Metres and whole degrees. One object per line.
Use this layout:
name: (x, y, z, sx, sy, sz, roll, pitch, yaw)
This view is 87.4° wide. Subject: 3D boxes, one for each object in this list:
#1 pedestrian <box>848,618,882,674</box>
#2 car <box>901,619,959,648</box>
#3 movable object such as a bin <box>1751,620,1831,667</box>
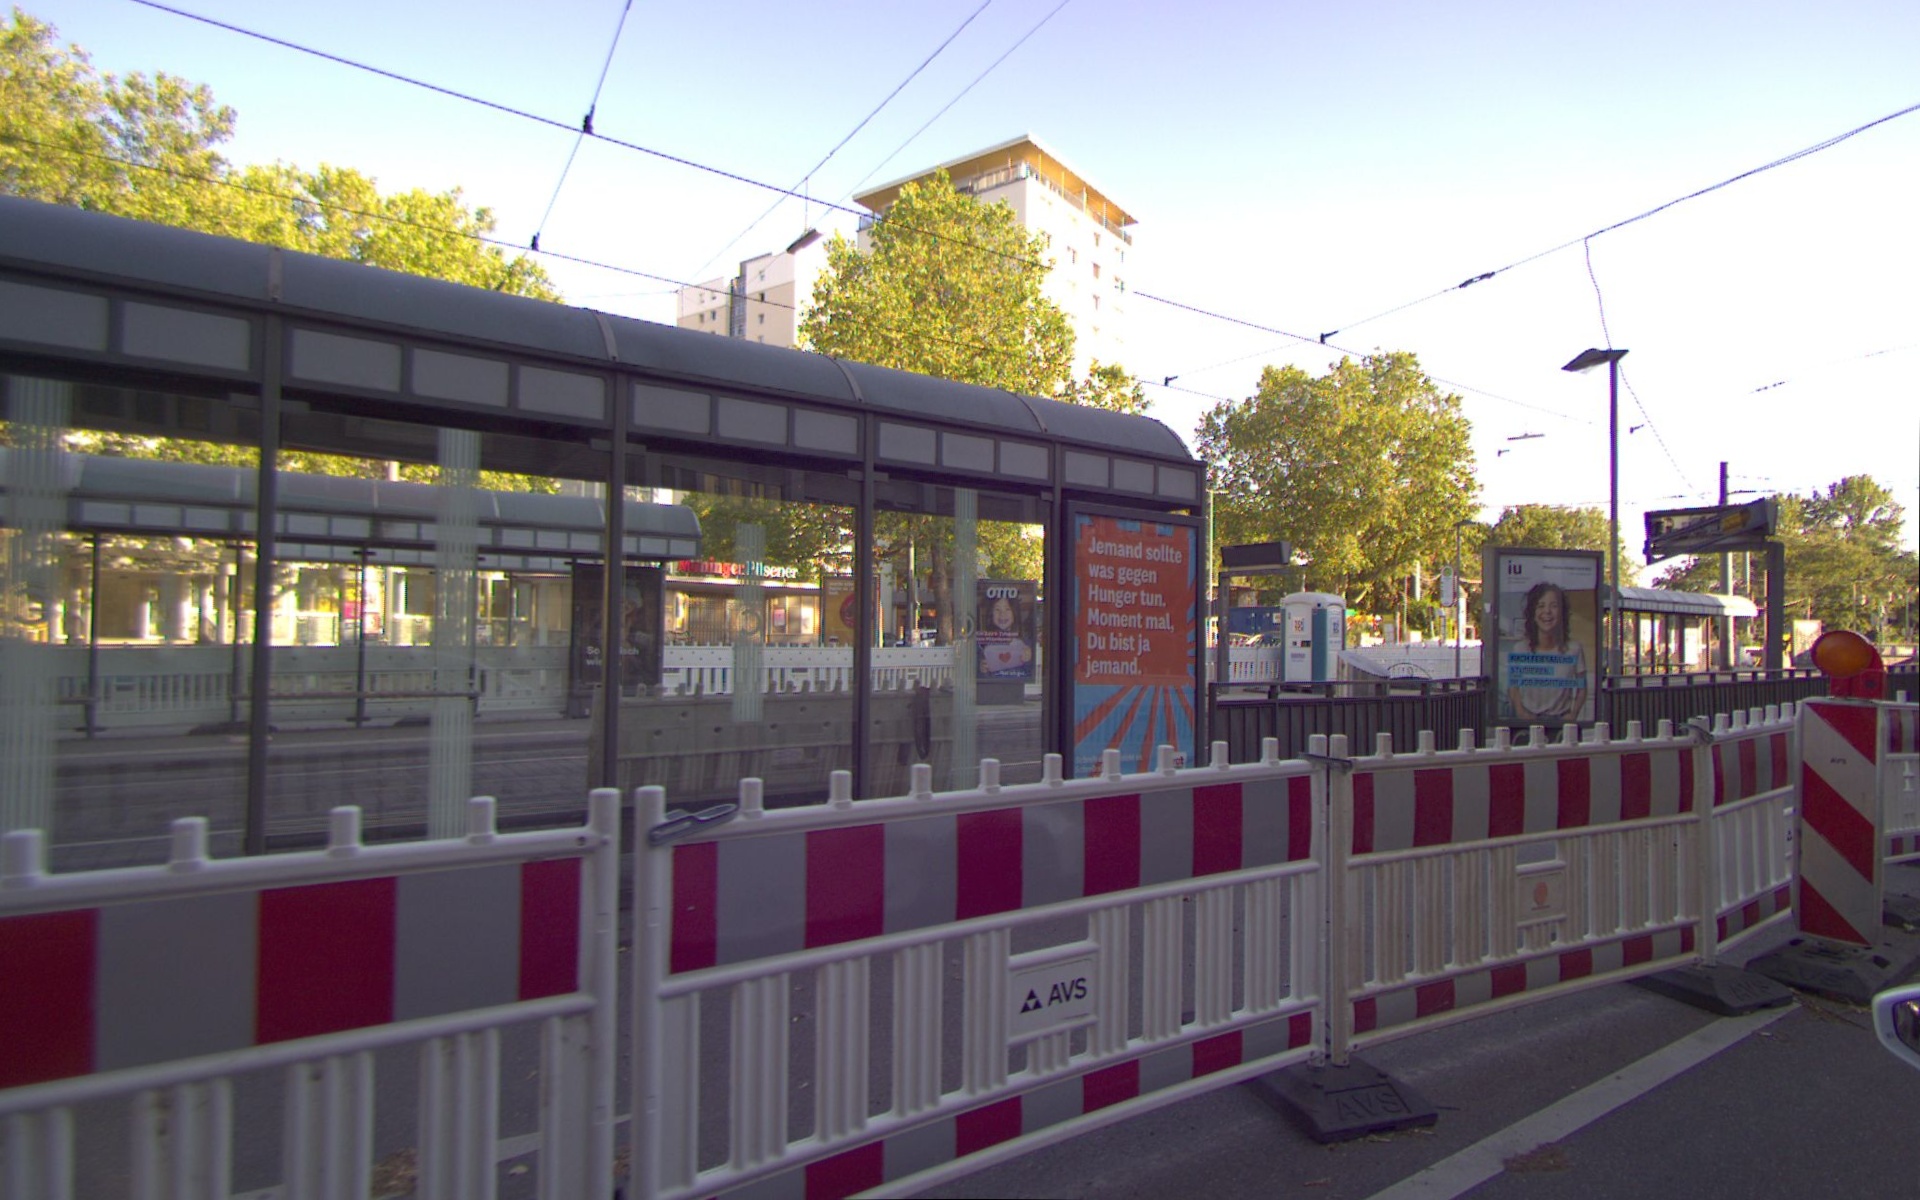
pedestrian: (-3.523, 1.702, 37.202, 0.880, 2.040, 0.874, 2, -2, -39)
car: (-2.148, 2.481, 73.668, 1.964, 2.040, 4.905, 0, -2, 30)
movable object such as a bin: (49.122, 2.550, 59.349, 4.544, 2.674, 2.141, 2, -2, -29)
